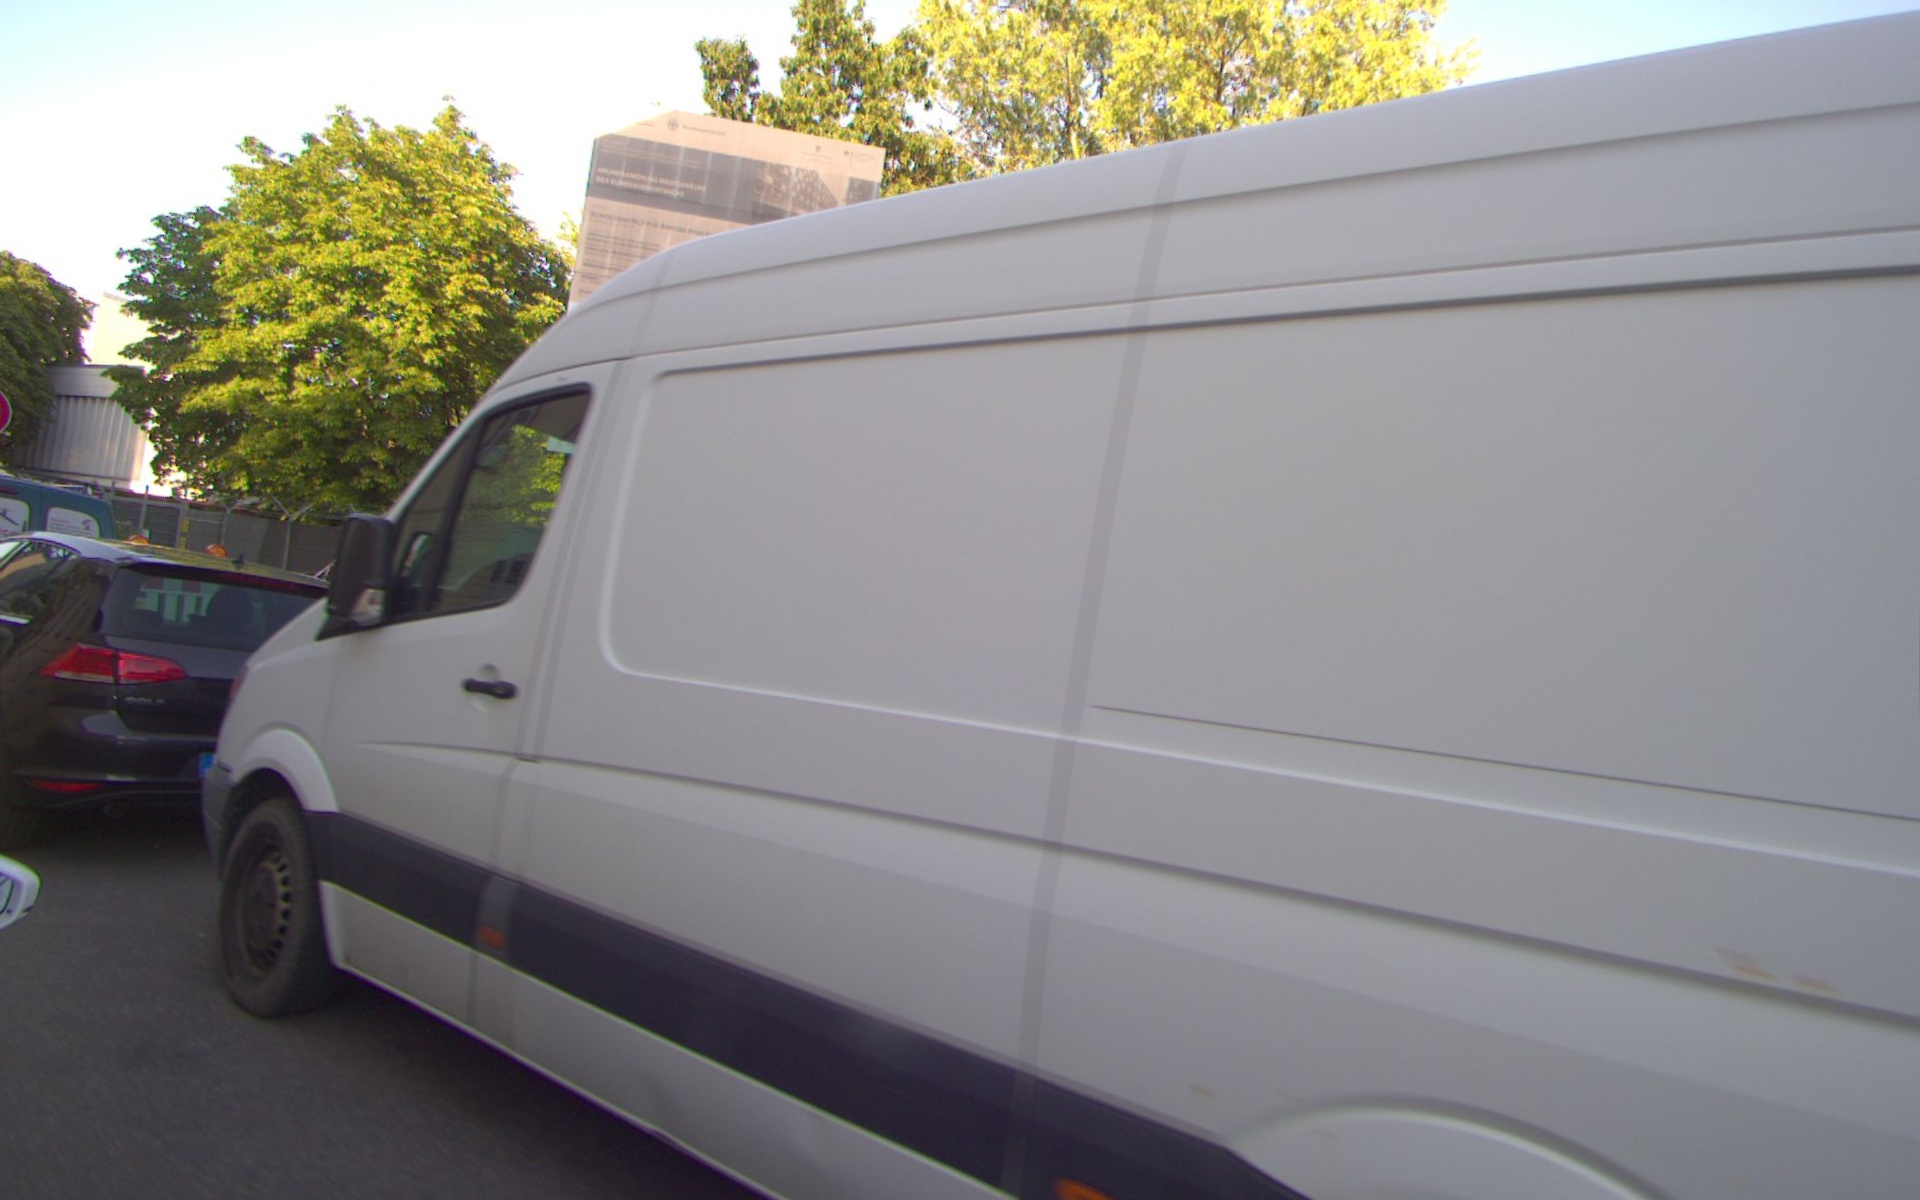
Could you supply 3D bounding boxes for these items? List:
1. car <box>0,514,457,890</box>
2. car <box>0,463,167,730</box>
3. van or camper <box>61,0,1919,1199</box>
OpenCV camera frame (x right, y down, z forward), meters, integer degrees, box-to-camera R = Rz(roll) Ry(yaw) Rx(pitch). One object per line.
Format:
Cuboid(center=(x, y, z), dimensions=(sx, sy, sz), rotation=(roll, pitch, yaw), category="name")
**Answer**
Cuboid(center=(-4.982, 0.345, 5.863), dimensions=(4.032, 1.475, 1.696), rotation=(7, -3, 33), category="car")
Cuboid(center=(-8.465, -0.213, 8.231), dimensions=(3.956, 1.869, 1.717), rotation=(7, -3, 33), category="car")
Cuboid(center=(-0.250, 0.214, 3.220), dimensions=(6.345, 2.805, 2.081), rotation=(6, -3, 33), category="van or camper")
